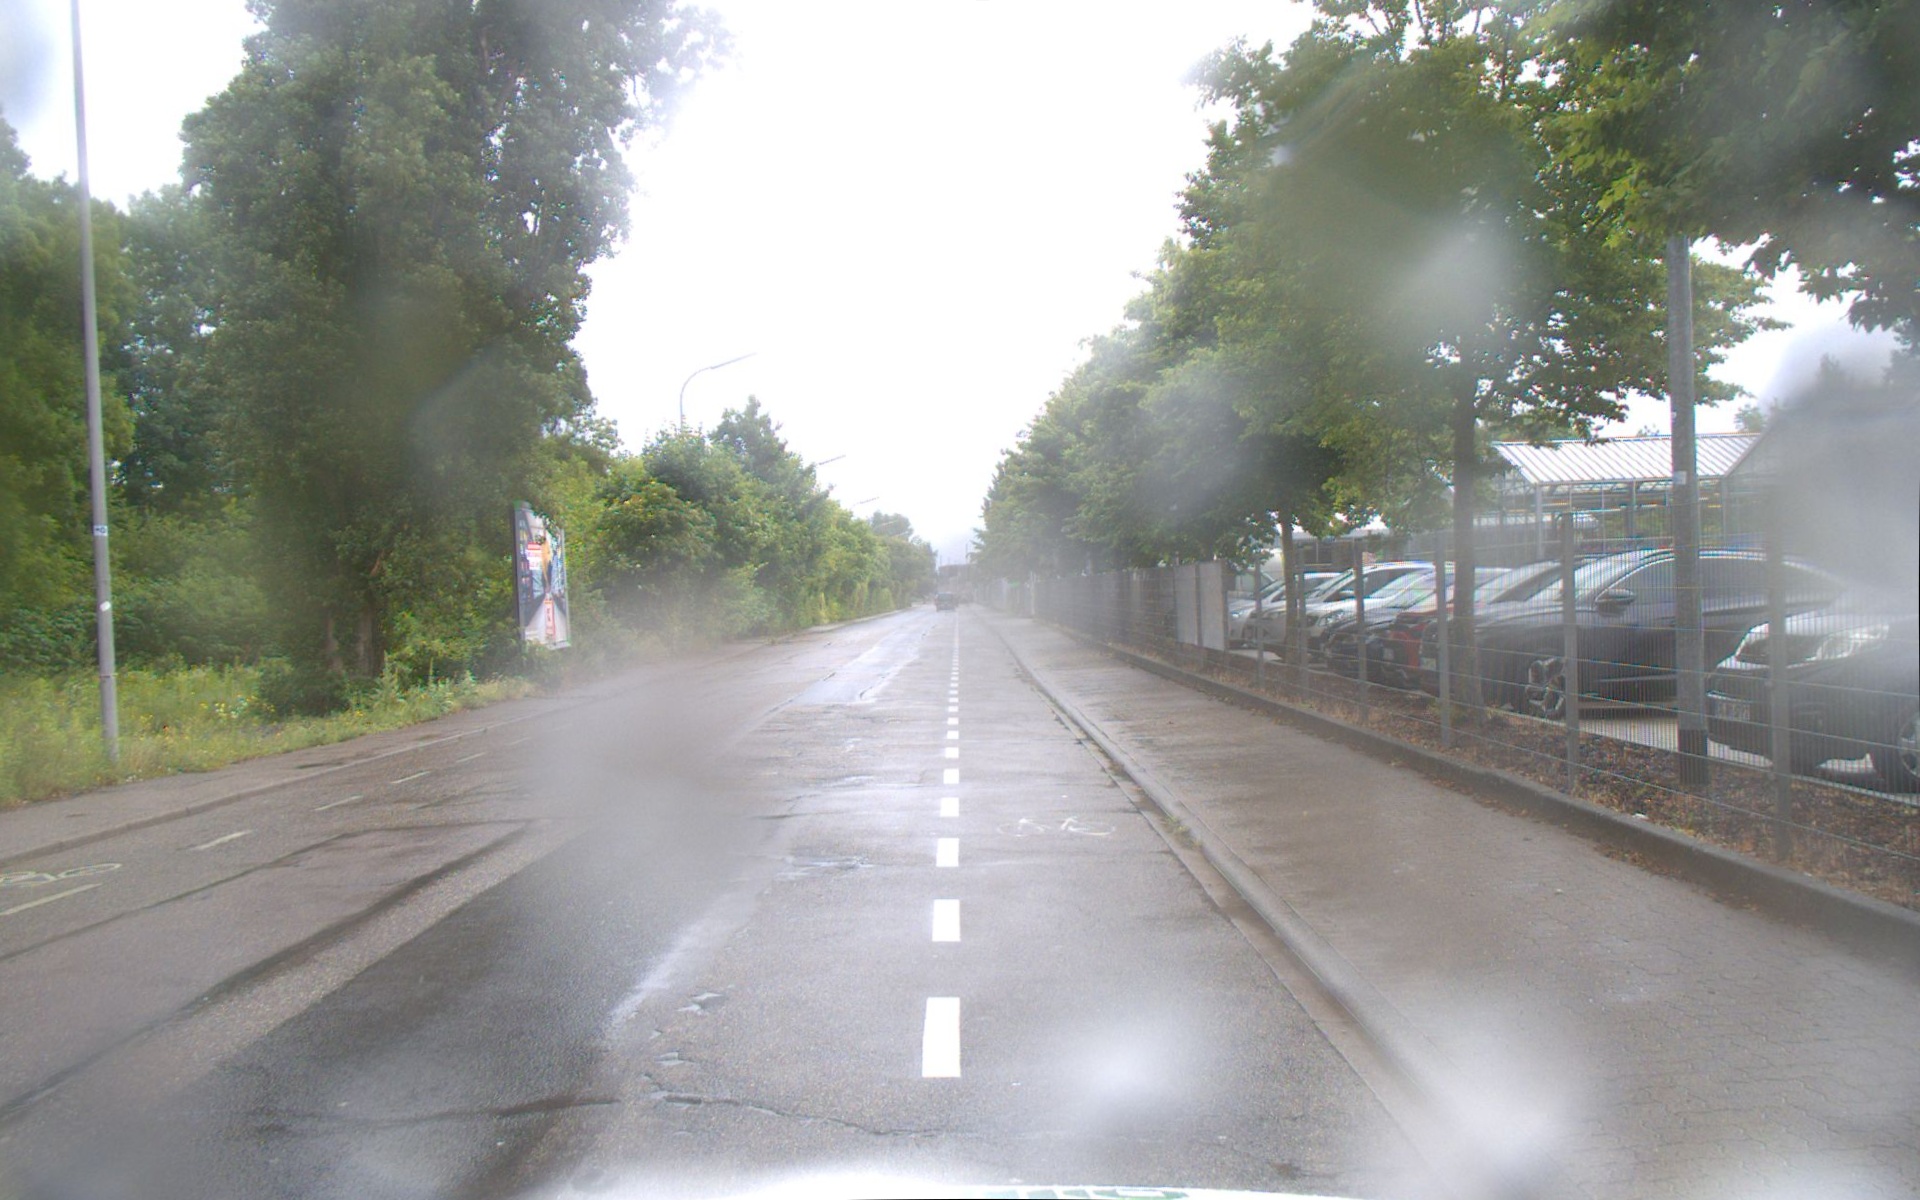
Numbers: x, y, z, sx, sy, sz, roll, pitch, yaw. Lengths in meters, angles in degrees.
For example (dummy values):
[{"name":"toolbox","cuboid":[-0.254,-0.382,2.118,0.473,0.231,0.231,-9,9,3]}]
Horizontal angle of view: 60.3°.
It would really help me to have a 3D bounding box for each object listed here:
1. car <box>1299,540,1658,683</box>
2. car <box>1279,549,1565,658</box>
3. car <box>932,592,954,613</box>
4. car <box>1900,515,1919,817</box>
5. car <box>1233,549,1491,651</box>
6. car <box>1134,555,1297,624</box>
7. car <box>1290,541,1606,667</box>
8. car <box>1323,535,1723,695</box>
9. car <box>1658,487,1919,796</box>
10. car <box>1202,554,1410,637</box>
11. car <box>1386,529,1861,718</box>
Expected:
[{"name":"car","cuboid":[6.812,0.126,21.936,4.129,1.646,1.821,-2,0,-8]},{"name":"car","cuboid":[7.544,0.046,27.211,4.129,1.560,1.821,-2,0,-8]},{"name":"car","cuboid":[-1.599,0.250,156.621,1.953,1.943,4.200,-3,-1,-1]},{"name":"car","cuboid":[7.240,0.276,8.173,4.123,1.629,1.823,-2,0,-1]},{"name":"car","cuboid":[7.212,-0.009,29.865,4.129,1.616,1.821,-2,0,-8]},{"name":"car","cuboid":[7.023,-0.284,45.780,4.124,1.706,1.823,-2,0,-3]},{"name":"car","cuboid":[7.241,0.045,24.735,4.129,1.646,1.821,-2,0,-8]},{"name":"car","cuboid":[6.662,0.154,19.793,4.129,1.646,1.821,-2,0,-8]},{"name":"car","cuboid":[7.114,0.165,11.057,4.129,1.825,1.821,-2,0,-8]},{"name":"car","cuboid":[7.577,-0.110,36.466,4.124,1.616,1.823,-2,0,-3]},{"name":"car","cuboid":[6.700,0.207,16.921,4.129,1.646,1.821,-2,0,-8]}]
